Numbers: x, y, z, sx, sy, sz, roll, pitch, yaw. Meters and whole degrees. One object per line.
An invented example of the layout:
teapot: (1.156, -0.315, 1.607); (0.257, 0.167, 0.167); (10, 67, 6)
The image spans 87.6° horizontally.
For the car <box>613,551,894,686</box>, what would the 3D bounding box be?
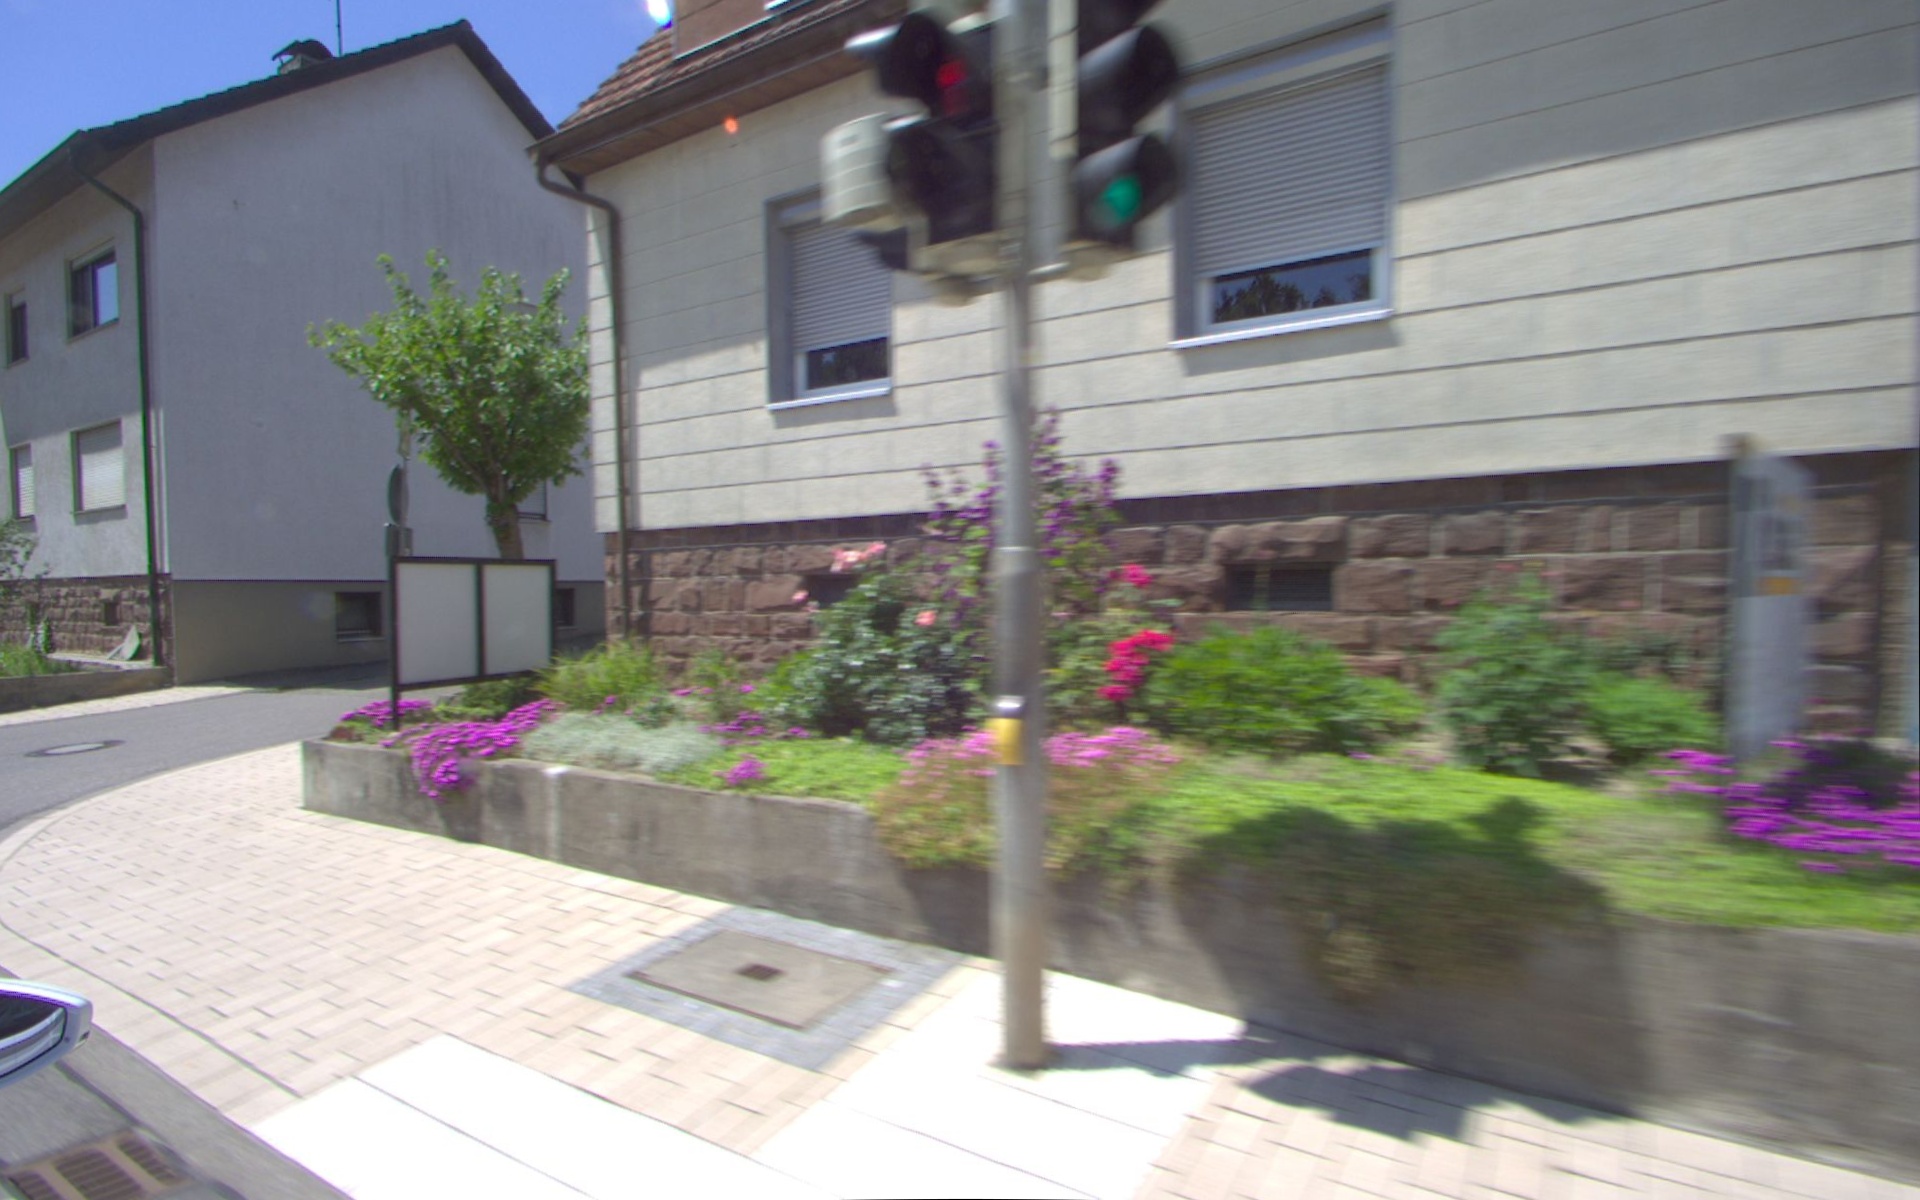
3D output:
car: (-2.730, 0.171, 13.899); (1.776, 1.513, 3.501); (-1, 3, 35)
